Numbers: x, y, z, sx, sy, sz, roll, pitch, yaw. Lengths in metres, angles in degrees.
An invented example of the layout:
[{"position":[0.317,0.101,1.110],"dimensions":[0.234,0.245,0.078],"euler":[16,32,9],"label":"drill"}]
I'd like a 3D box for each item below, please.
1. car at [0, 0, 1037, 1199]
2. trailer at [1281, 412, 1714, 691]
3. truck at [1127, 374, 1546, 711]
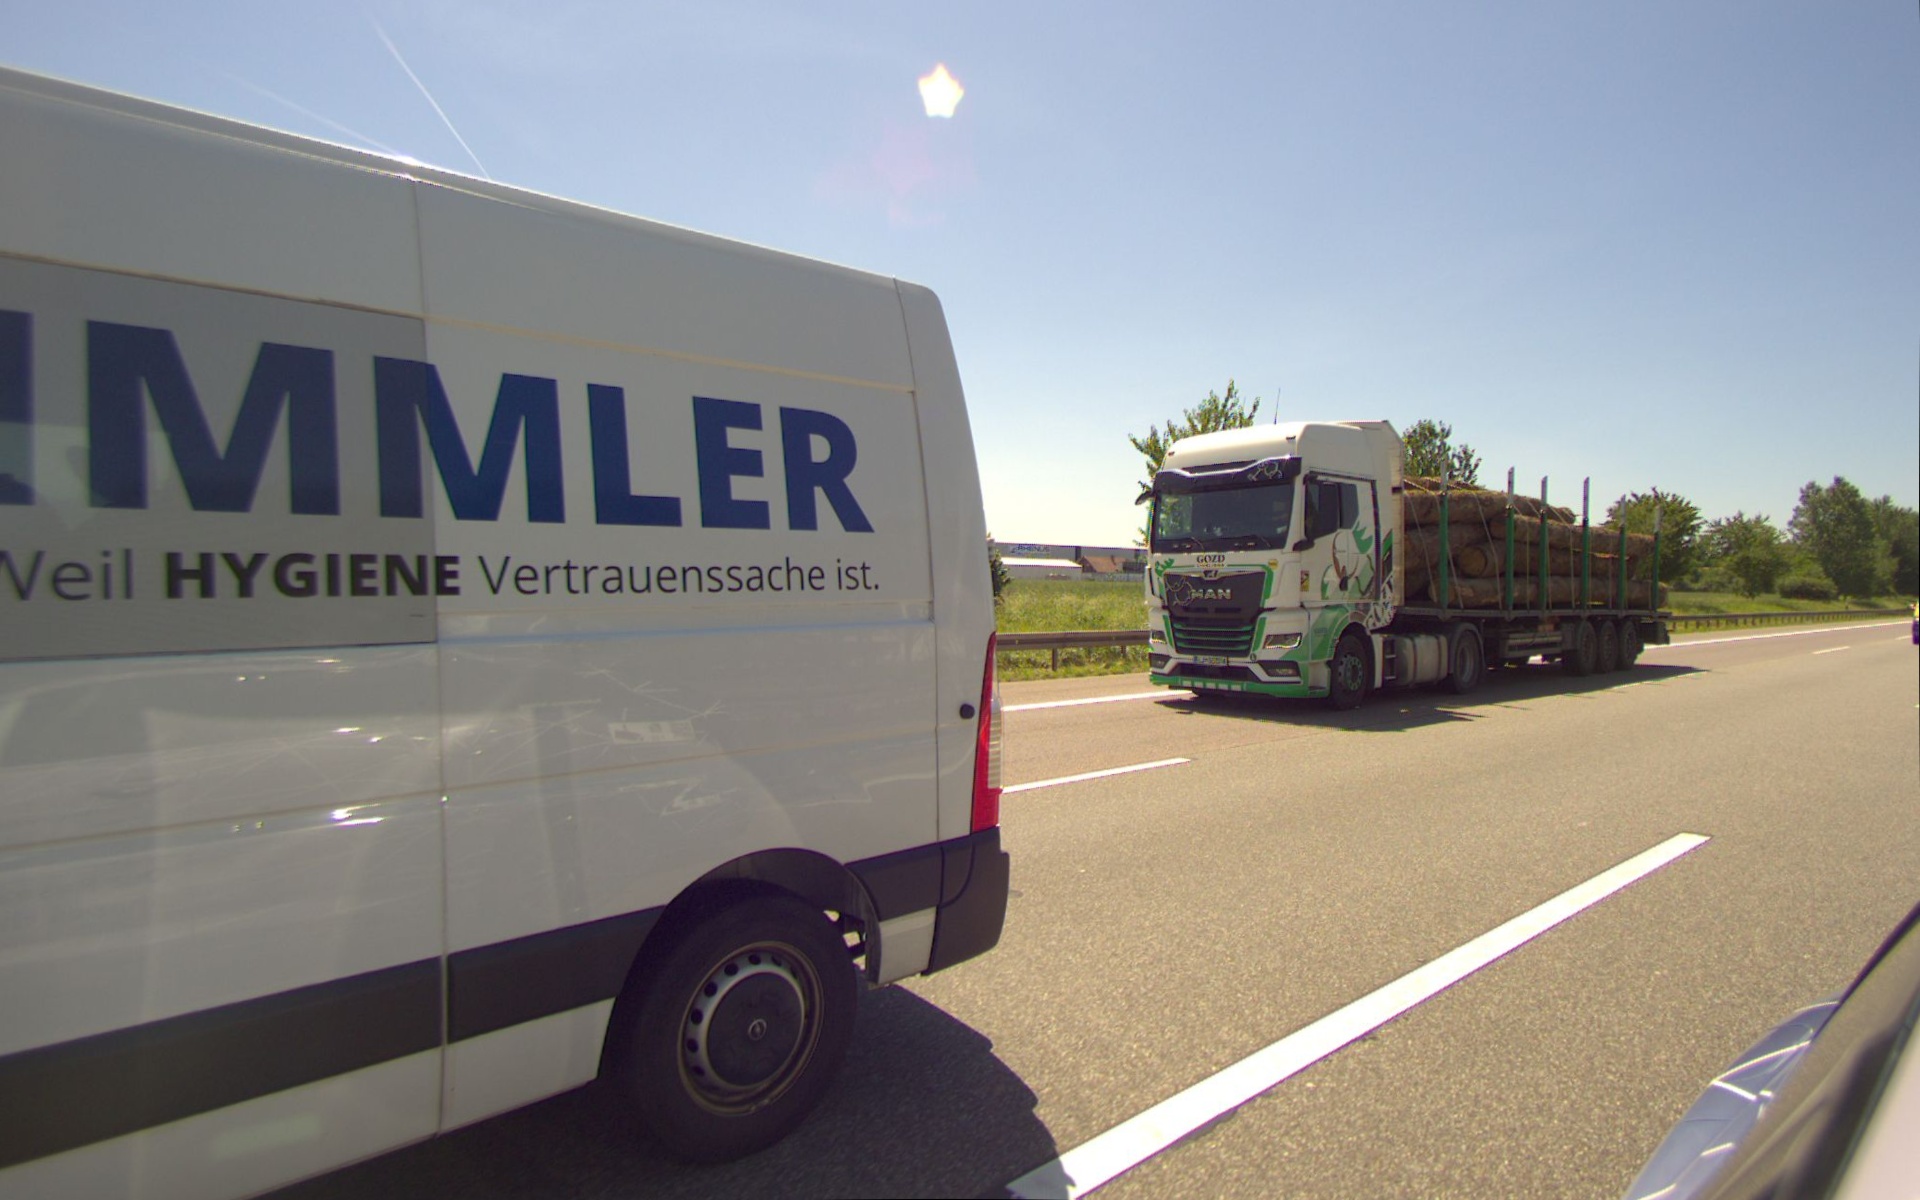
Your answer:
[{"position":[-2.660,0.144,2.045],"dimensions":[5.842,2.540,2.157],"euler":[-1,0,-41],"label":"car"},{"position":[11.372,-0.744,20.041],"dimensions":[13.713,4.016,2.698],"euler":[0,0,-40],"label":"trailer"},{"position":[6.073,-0.713,15.552],"dimensions":[7.567,4.016,2.698],"euler":[0,0,-40],"label":"truck"}]
